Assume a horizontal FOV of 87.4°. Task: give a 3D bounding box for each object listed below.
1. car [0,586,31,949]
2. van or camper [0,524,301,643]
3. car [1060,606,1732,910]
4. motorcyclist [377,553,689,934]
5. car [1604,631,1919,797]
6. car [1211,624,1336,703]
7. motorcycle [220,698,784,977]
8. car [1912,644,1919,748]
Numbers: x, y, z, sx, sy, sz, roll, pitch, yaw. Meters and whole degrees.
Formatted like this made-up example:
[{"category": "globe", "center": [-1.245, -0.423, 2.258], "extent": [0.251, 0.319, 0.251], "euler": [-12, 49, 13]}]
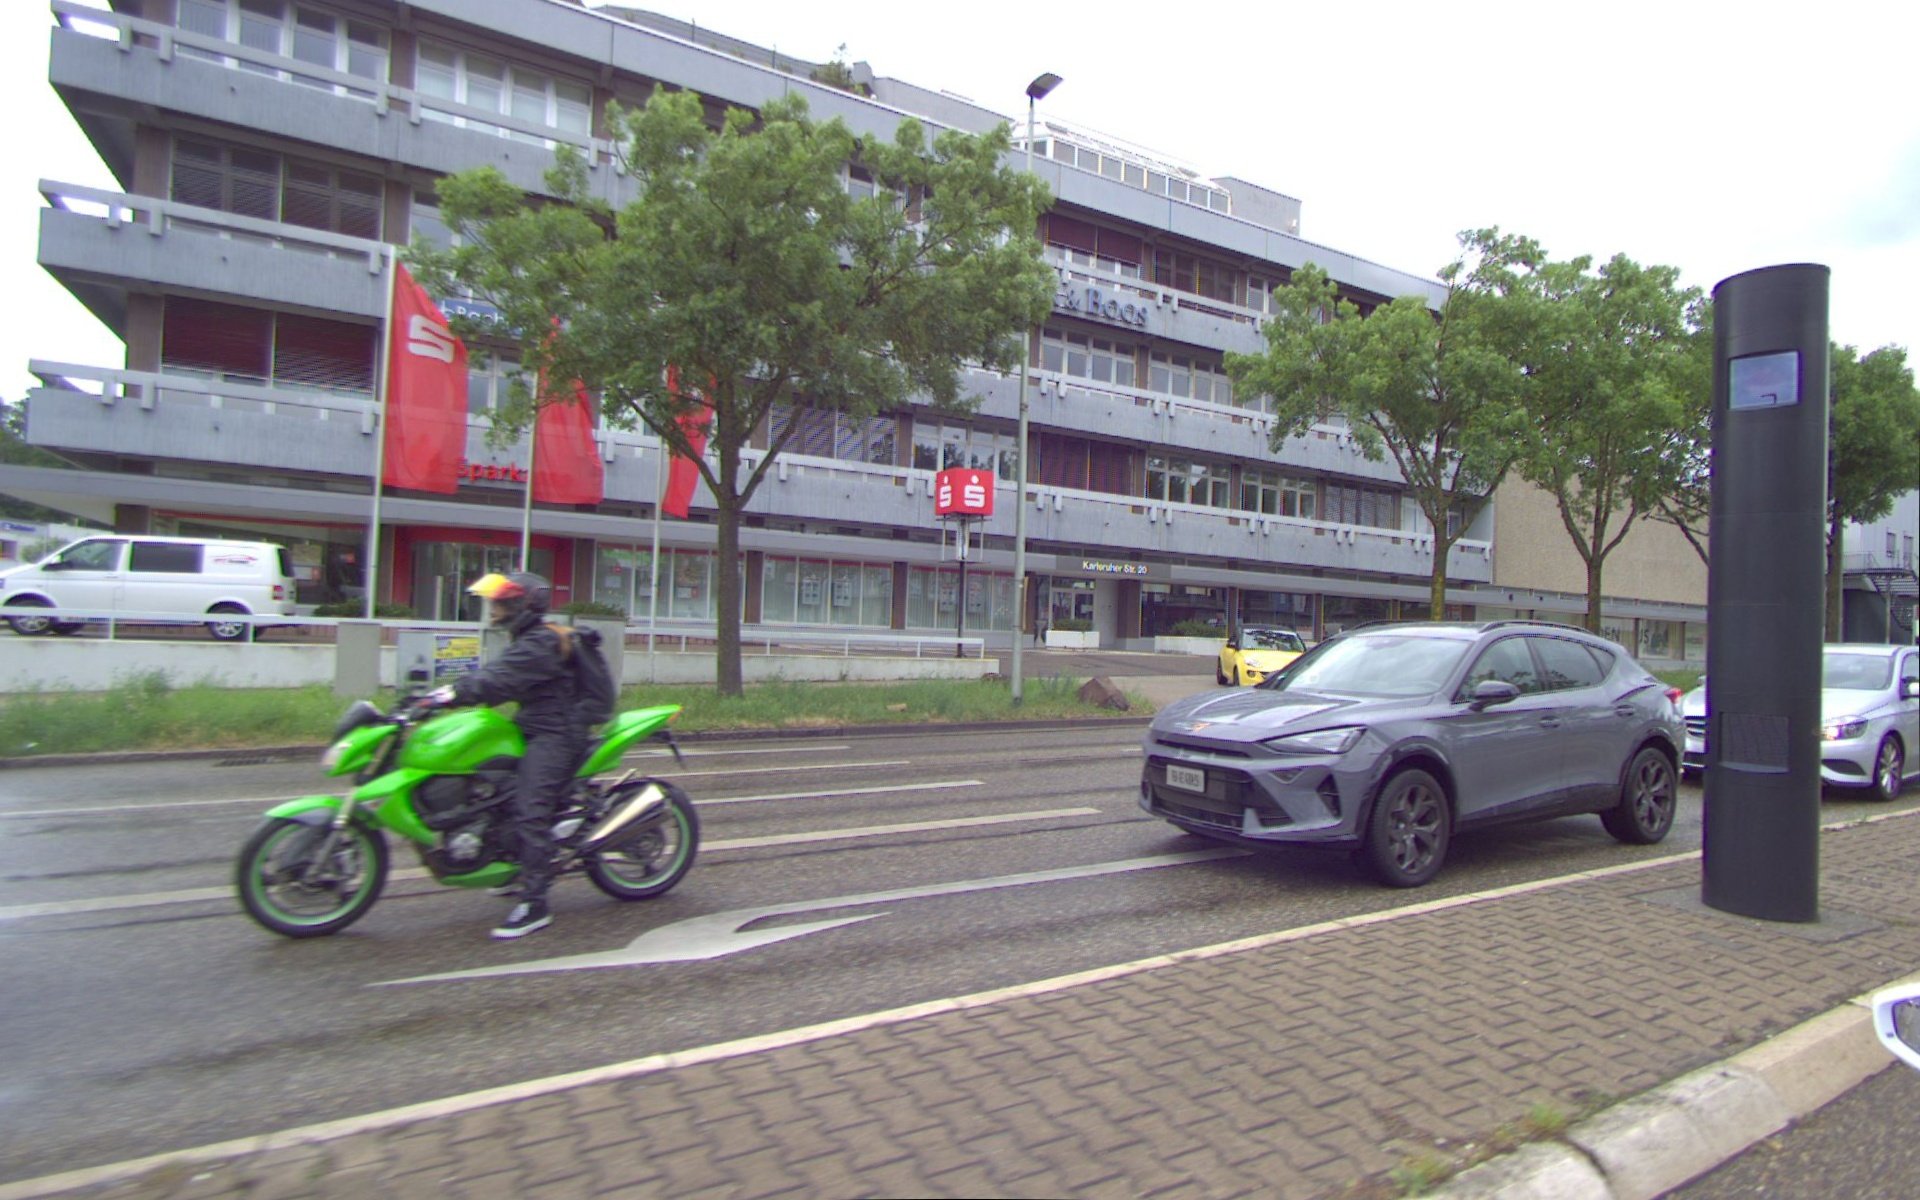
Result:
[{"category": "car", "center": [-5.018, 0.569, 2.296], "extent": [3.958, 1.395, 1.672], "euler": [2, -2, -33]}, {"category": "van or camper", "center": [-15.890, -0.281, 19.690], "extent": [4.733, 1.993, 1.984], "euler": [3, 0, -30]}, {"category": "car", "center": [3.149, 0.873, 6.927], "extent": [4.771, 1.509, 1.737], "euler": [2, -2, -29]}, {"category": "motorcyclist", "center": [-2.060, 0.613, 4.846], "extent": [1.253, 1.580, 0.802], "euler": [2, -1, -32]}, {"category": "car", "center": [8.970, 1.091, 10.497], "extent": [4.808, 1.394, 1.832], "euler": [2, -4, -31]}, {"category": "car", "center": [6.870, 1.349, 22.418], "extent": [1.861, 1.572, 4.003], "euler": [1, -2, 5]}, {"category": "motorcycle", "center": [-2.080, 1.010, 4.840], "extent": [2.297, 0.989, 0.802], "euler": [2, -3, -32]}, {"category": "car", "center": [15.635, 1.372, 14.331], "extent": [4.733, 1.416, 1.715], "euler": [3, -4, -30]}]
